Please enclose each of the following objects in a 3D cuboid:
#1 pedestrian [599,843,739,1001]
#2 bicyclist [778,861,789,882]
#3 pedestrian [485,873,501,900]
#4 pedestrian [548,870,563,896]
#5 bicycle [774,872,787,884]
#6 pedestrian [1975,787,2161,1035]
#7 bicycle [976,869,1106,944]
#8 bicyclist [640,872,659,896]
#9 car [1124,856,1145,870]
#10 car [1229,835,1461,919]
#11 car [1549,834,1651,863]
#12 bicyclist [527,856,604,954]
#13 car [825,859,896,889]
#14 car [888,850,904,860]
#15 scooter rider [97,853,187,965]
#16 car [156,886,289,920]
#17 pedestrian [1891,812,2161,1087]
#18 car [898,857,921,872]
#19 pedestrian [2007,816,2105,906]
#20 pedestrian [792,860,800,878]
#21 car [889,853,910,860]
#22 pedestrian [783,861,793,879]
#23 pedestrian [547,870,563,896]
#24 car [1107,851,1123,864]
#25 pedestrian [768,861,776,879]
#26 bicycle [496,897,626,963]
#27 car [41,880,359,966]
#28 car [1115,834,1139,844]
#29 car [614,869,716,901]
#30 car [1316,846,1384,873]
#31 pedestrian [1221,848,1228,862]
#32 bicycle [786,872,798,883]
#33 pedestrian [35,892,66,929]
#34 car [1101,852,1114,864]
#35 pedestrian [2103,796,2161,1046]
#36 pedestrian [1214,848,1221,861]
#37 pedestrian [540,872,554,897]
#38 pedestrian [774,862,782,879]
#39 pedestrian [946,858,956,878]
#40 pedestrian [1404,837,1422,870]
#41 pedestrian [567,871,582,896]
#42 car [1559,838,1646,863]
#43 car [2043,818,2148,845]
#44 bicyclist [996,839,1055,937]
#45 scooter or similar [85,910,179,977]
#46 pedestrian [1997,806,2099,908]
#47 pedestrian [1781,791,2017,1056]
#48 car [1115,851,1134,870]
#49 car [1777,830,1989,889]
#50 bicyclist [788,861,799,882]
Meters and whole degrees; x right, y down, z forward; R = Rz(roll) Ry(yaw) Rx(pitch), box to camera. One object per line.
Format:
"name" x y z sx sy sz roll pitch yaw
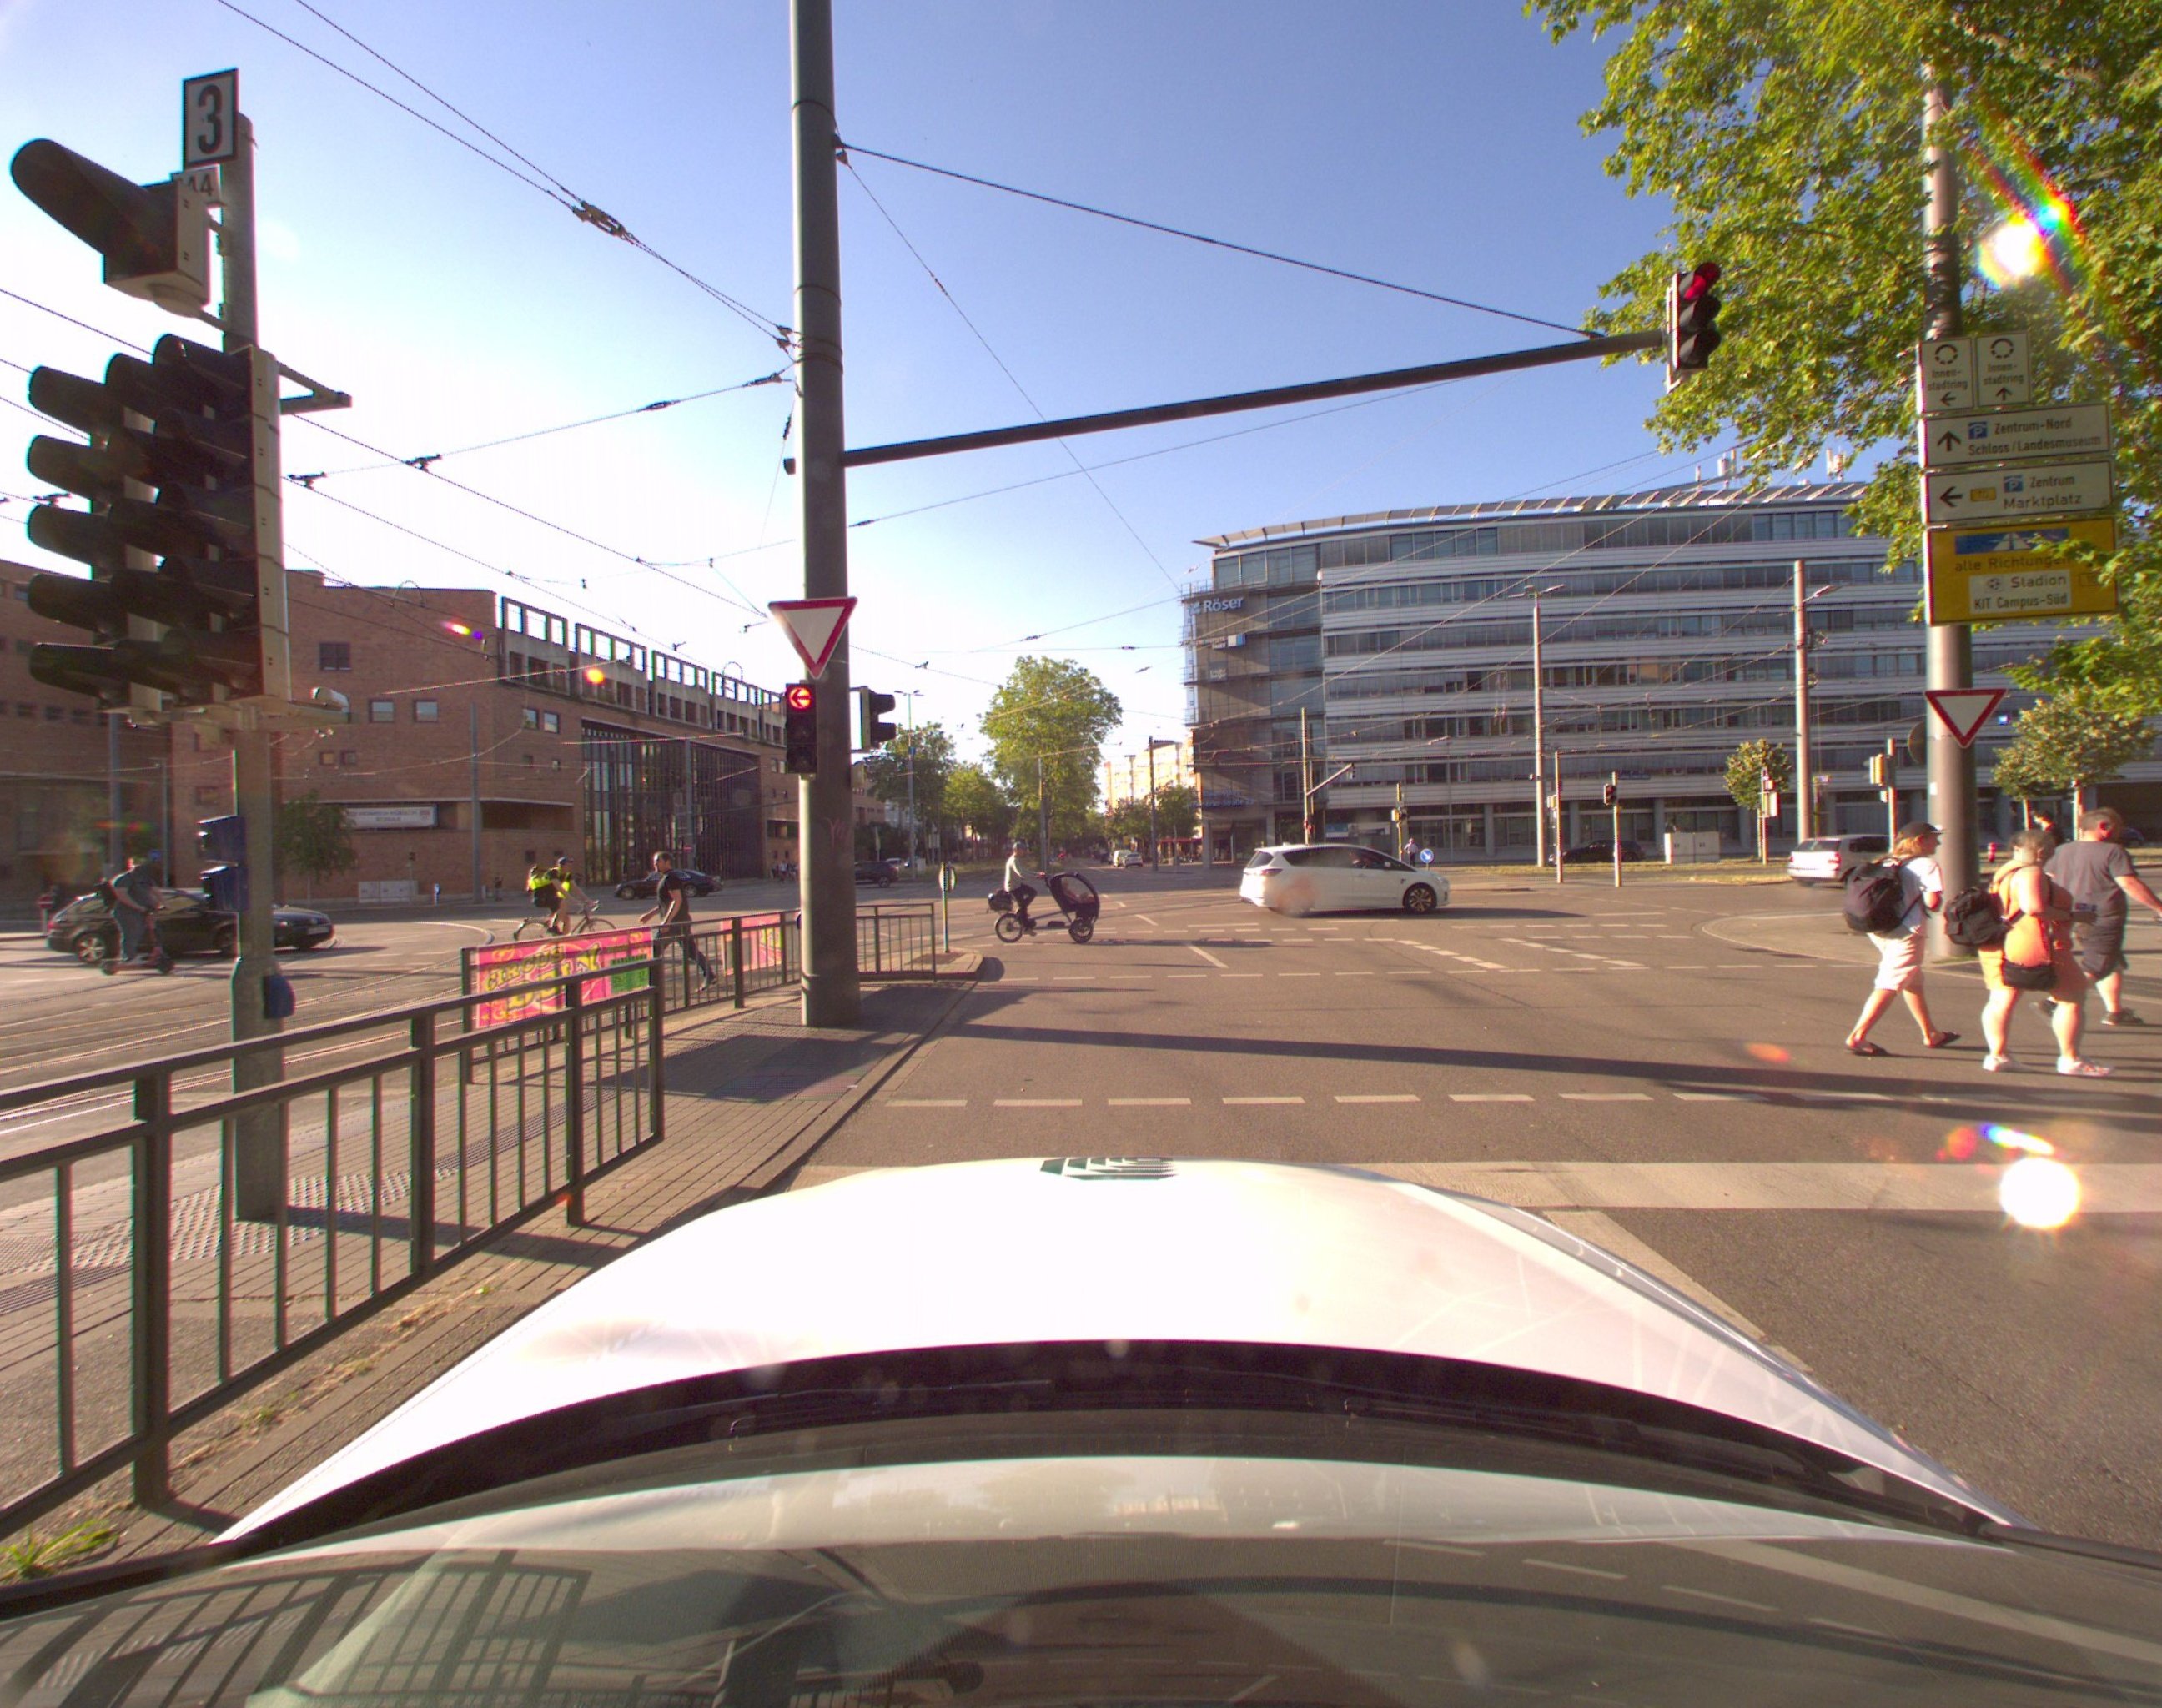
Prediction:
"pedestrian" -5.083 0.807 10.139 1.207 1.822 1.040 -2 -1 -5
"bicyclist" -24.273 1.405 66.379 0.592 1.675 0.788 -2 0 -4
"pedestrian" -35.347 1.960 48.920 0.538 1.613 0.575 -2 0 33
"pedestrian" -34.455 1.885 53.368 0.623 1.650 0.537 -2 0 -8
"bicycle" -24.416 1.968 66.271 0.512 0.881 1.835 -2 0 -6
"pedestrian" 8.356 0.430 6.686 1.143 1.893 0.831 -1 0 -6
"bicycle" -0.677 0.917 14.537 2.147 1.226 1.074 -1 1 5
"bicyclist" -25.153 1.762 47.469 0.820 1.366 0.398 -2 0 -15
"car" 5.434 0.869 82.910 1.986 1.332 4.002 -2 0 2
"car" 6.101 0.506 19.230 4.820 1.727 1.999 -2 0 -1
"car" 27.614 -0.285 43.420 4.219 1.392 1.799 -2 0 6
"bicyclist" -9.114 0.880 14.413 0.900 1.664 0.640 -2 0 4
"car" -12.726 1.139 47.206 3.864 1.507 1.788 -2 0 -13
"car" -26.279 0.155 115.930 1.906 1.510 3.987 0 -1 -9
"scooter rider" -16.516 0.942 14.335 0.660 1.896 0.737 -2 0 4
"car" -42.091 2.397 40.011 4.238 1.392 1.790 -2 0 -8
"pedestrian" 6.310 0.585 5.436 1.071 1.681 0.756 -1 0 -6
"car" -19.741 1.186 93.676 1.990 1.508 3.994 -2 0 -4
"pedestrian" 18.910 0.134 15.815 0.840 1.681 0.870 -1 0 9
"pedestrian" -29.497 1.562 84.264 0.519 1.779 0.547 -2 0 9
"car" -38.838 0.594 174.281 4.011 1.552 1.592 0 -1 -29
"pedestrian" -29.845 1.643 82.985 0.637 1.810 0.547 -2 0 9
"pedestrian" -34.052 1.891 52.709 0.622 1.650 0.537 -2 0 -4
"car" 4.391 0.443 105.108 1.986 1.662 4.002 -2 0 2
"pedestrian" -31.529 1.673 83.079 0.487 1.810 0.547 -2 0 9
"bicycle" -9.193 1.333 14.419 1.914 1.064 0.630 -1 0 4
"car" -18.689 1.420 17.486 4.376 1.517 1.997 -2 1 -4
"car" 8.000 -2.578 140.949 3.732 1.750 1.789 0 -1 16
"car" -21.284 1.563 41.772 4.238 1.434 1.790 -2 0 -8
"car" 16.446 0.322 49.856 3.582 1.466 1.797 -2 0 2
"pedestrian" 16.280 0.112 92.284 0.701 1.465 0.385 -2 0 11
"bicycle" -23.595 1.918 66.557 0.512 0.881 1.835 -2 0 -6
"pedestrian" -45.851 2.507 36.243 0.542 1.613 0.613 0 1 -3
"car" 4.142 0.589 126.846 1.986 1.662 4.002 -2 0 2
"pedestrian" 8.317 0.477 5.841 1.070 1.806 0.756 -1 0 -6
"pedestrian" 15.590 0.048 92.725 0.734 1.465 0.538 -2 0 11
"pedestrian" -35.417 2.009 54.019 0.622 1.650 0.537 -2 -1 -5
"pedestrian" -31.529 1.704 84.666 0.487 1.810 0.547 -2 0 9
"pedestrian" -10.107 1.111 63.439 0.753 1.530 0.507 -1 0 -6
"pedestrian" 17.290 -0.019 42.407 0.715 1.681 0.558 -1 0 9
"pedestrian" -33.465 1.935 53.818 0.622 1.650 0.537 -2 0 -4
"car" 31.333 -0.214 49.009 3.969 1.348 1.979 -2 0 4
"car" 61.038 -1.341 49.064 3.970 1.398 1.761 -2 0 3
"bicyclist" -0.976 0.600 14.597 0.900 1.681 0.692 -2 0 5
"scooter or similar" -16.600 1.562 14.256 1.201 1.104 0.403 -2 0 4
"pedestrian" 17.838 0.058 15.050 0.840 1.820 0.870 -1 0 9
"pedestrian" 6.169 0.491 6.186 1.072 1.871 0.737 -1 0 -6
"car" 4.744 0.675 89.772 1.986 1.991 4.002 -2 0 2
"car" 21.679 0.139 22.144 3.893 1.434 1.826 -2 0 2
"bicyclist" -23.505 1.403 66.616 0.592 1.675 0.788 -2 0 -4
